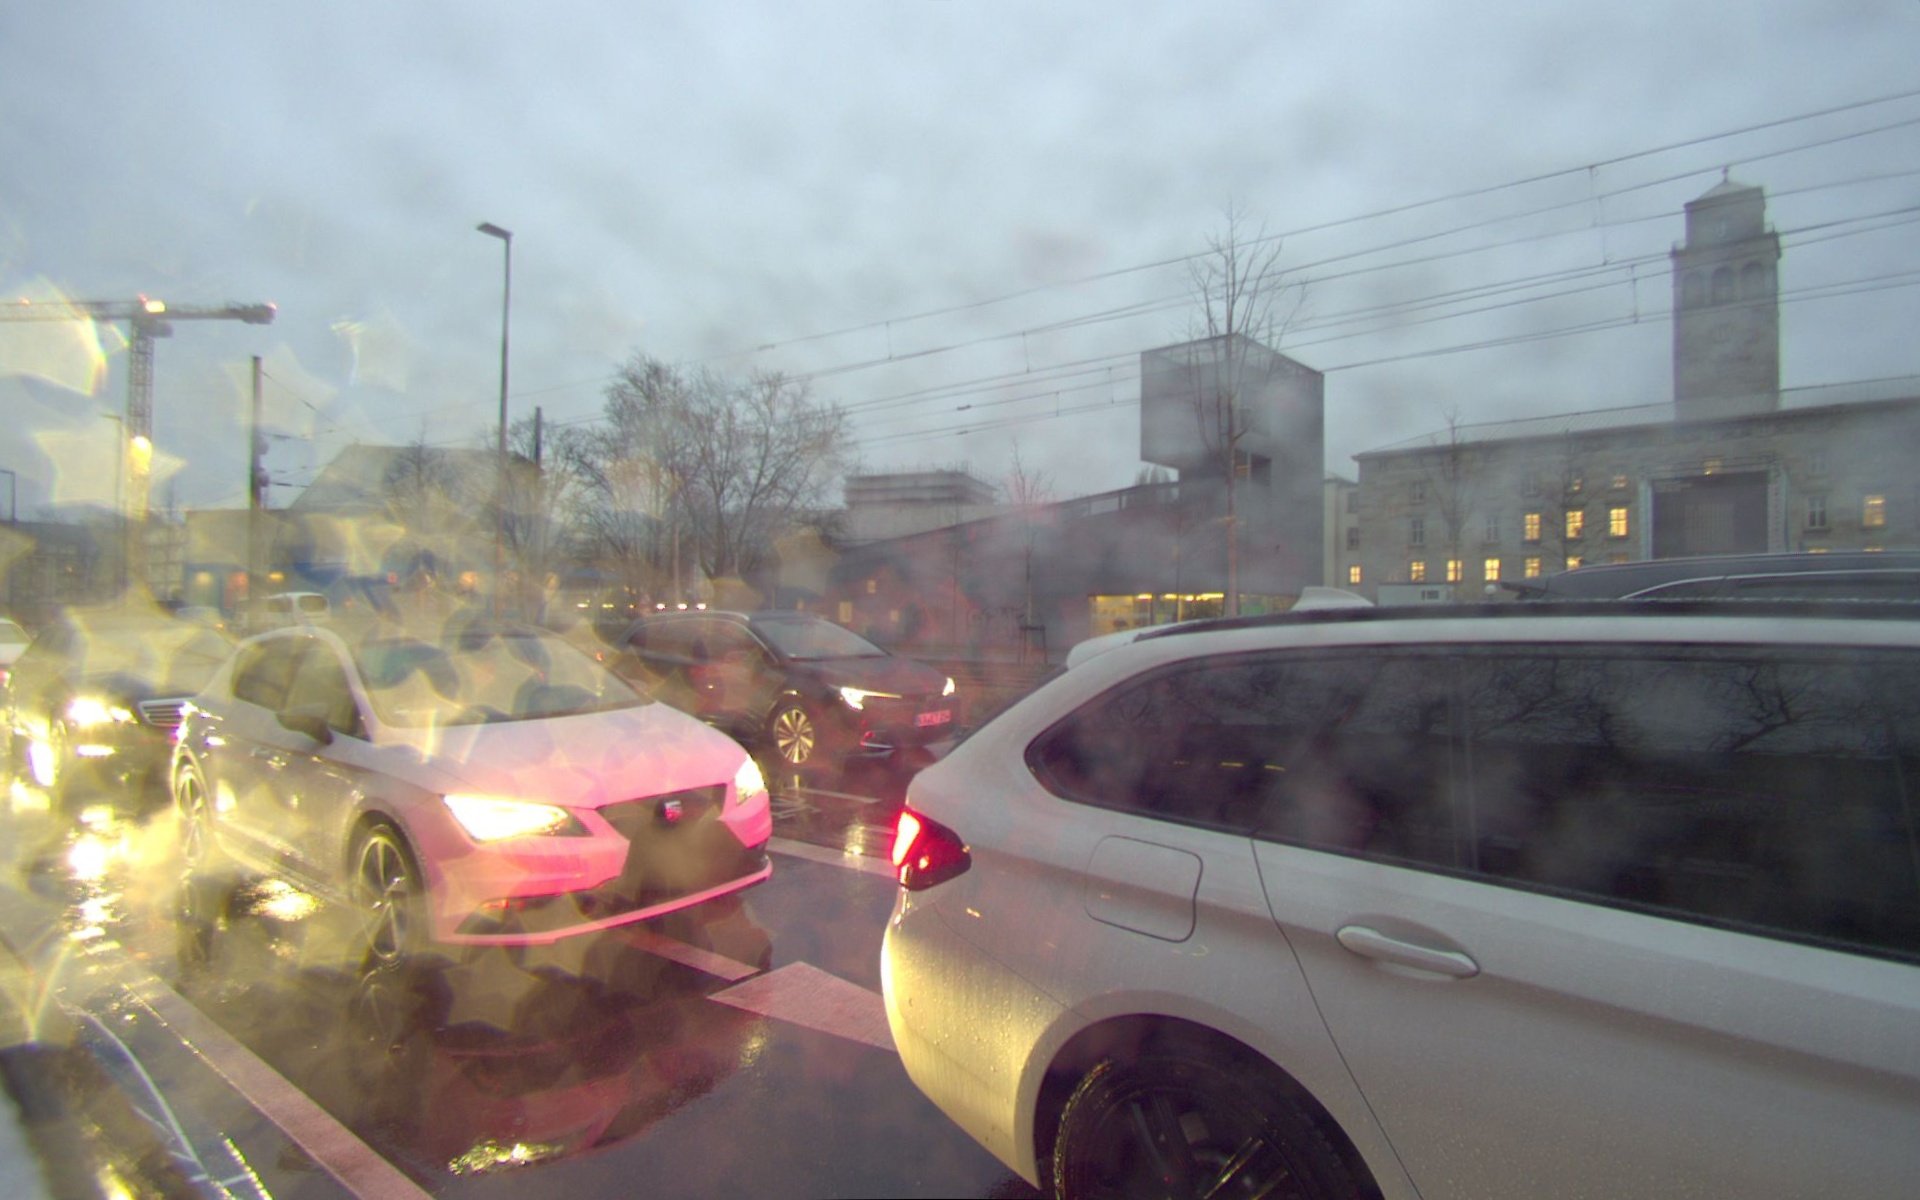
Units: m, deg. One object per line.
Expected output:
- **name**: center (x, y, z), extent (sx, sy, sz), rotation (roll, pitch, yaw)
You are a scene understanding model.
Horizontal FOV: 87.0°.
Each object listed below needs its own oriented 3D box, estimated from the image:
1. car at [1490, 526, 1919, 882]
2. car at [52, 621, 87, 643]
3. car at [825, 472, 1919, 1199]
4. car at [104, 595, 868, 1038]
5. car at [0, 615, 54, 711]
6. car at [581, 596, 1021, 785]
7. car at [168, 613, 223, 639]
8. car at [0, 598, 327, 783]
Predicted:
- **car**: center (5.228, 0.471, 5.001), extent (4.289, 1.596, 1.946), rotation (-1, -1, 42)
- **car**: center (-85.310, 3.015, 96.949), extent (3.998, 2.029, 1.973), rotation (-1, 0, 41)
- **car**: center (2.056, 0.616, 1.648), extent (4.557, 1.498, 1.996), rotation (-1, -2, 41)
- **car**: center (-2.832, 0.768, 5.582), extent (4.497, 1.498, 1.926), rotation (-1, 0, 37)
- **car**: center (-17.699, 1.081, 18.000), extent (3.998, 1.586, 1.882), rotation (-1, 0, 41)
- **car**: center (-1.787, 0.751, 10.350), extent (4.659, 1.519, 1.830), rotation (0, -1, 39)
- **car**: center (-56.602, 1.930, 74.918), extent (3.989, 1.910, 2.072), rotation (-1, -2, 34)
- **car**: center (-8.475, 0.784, 10.427), extent (4.501, 1.498, 1.974), rotation (-1, -2, 39)
